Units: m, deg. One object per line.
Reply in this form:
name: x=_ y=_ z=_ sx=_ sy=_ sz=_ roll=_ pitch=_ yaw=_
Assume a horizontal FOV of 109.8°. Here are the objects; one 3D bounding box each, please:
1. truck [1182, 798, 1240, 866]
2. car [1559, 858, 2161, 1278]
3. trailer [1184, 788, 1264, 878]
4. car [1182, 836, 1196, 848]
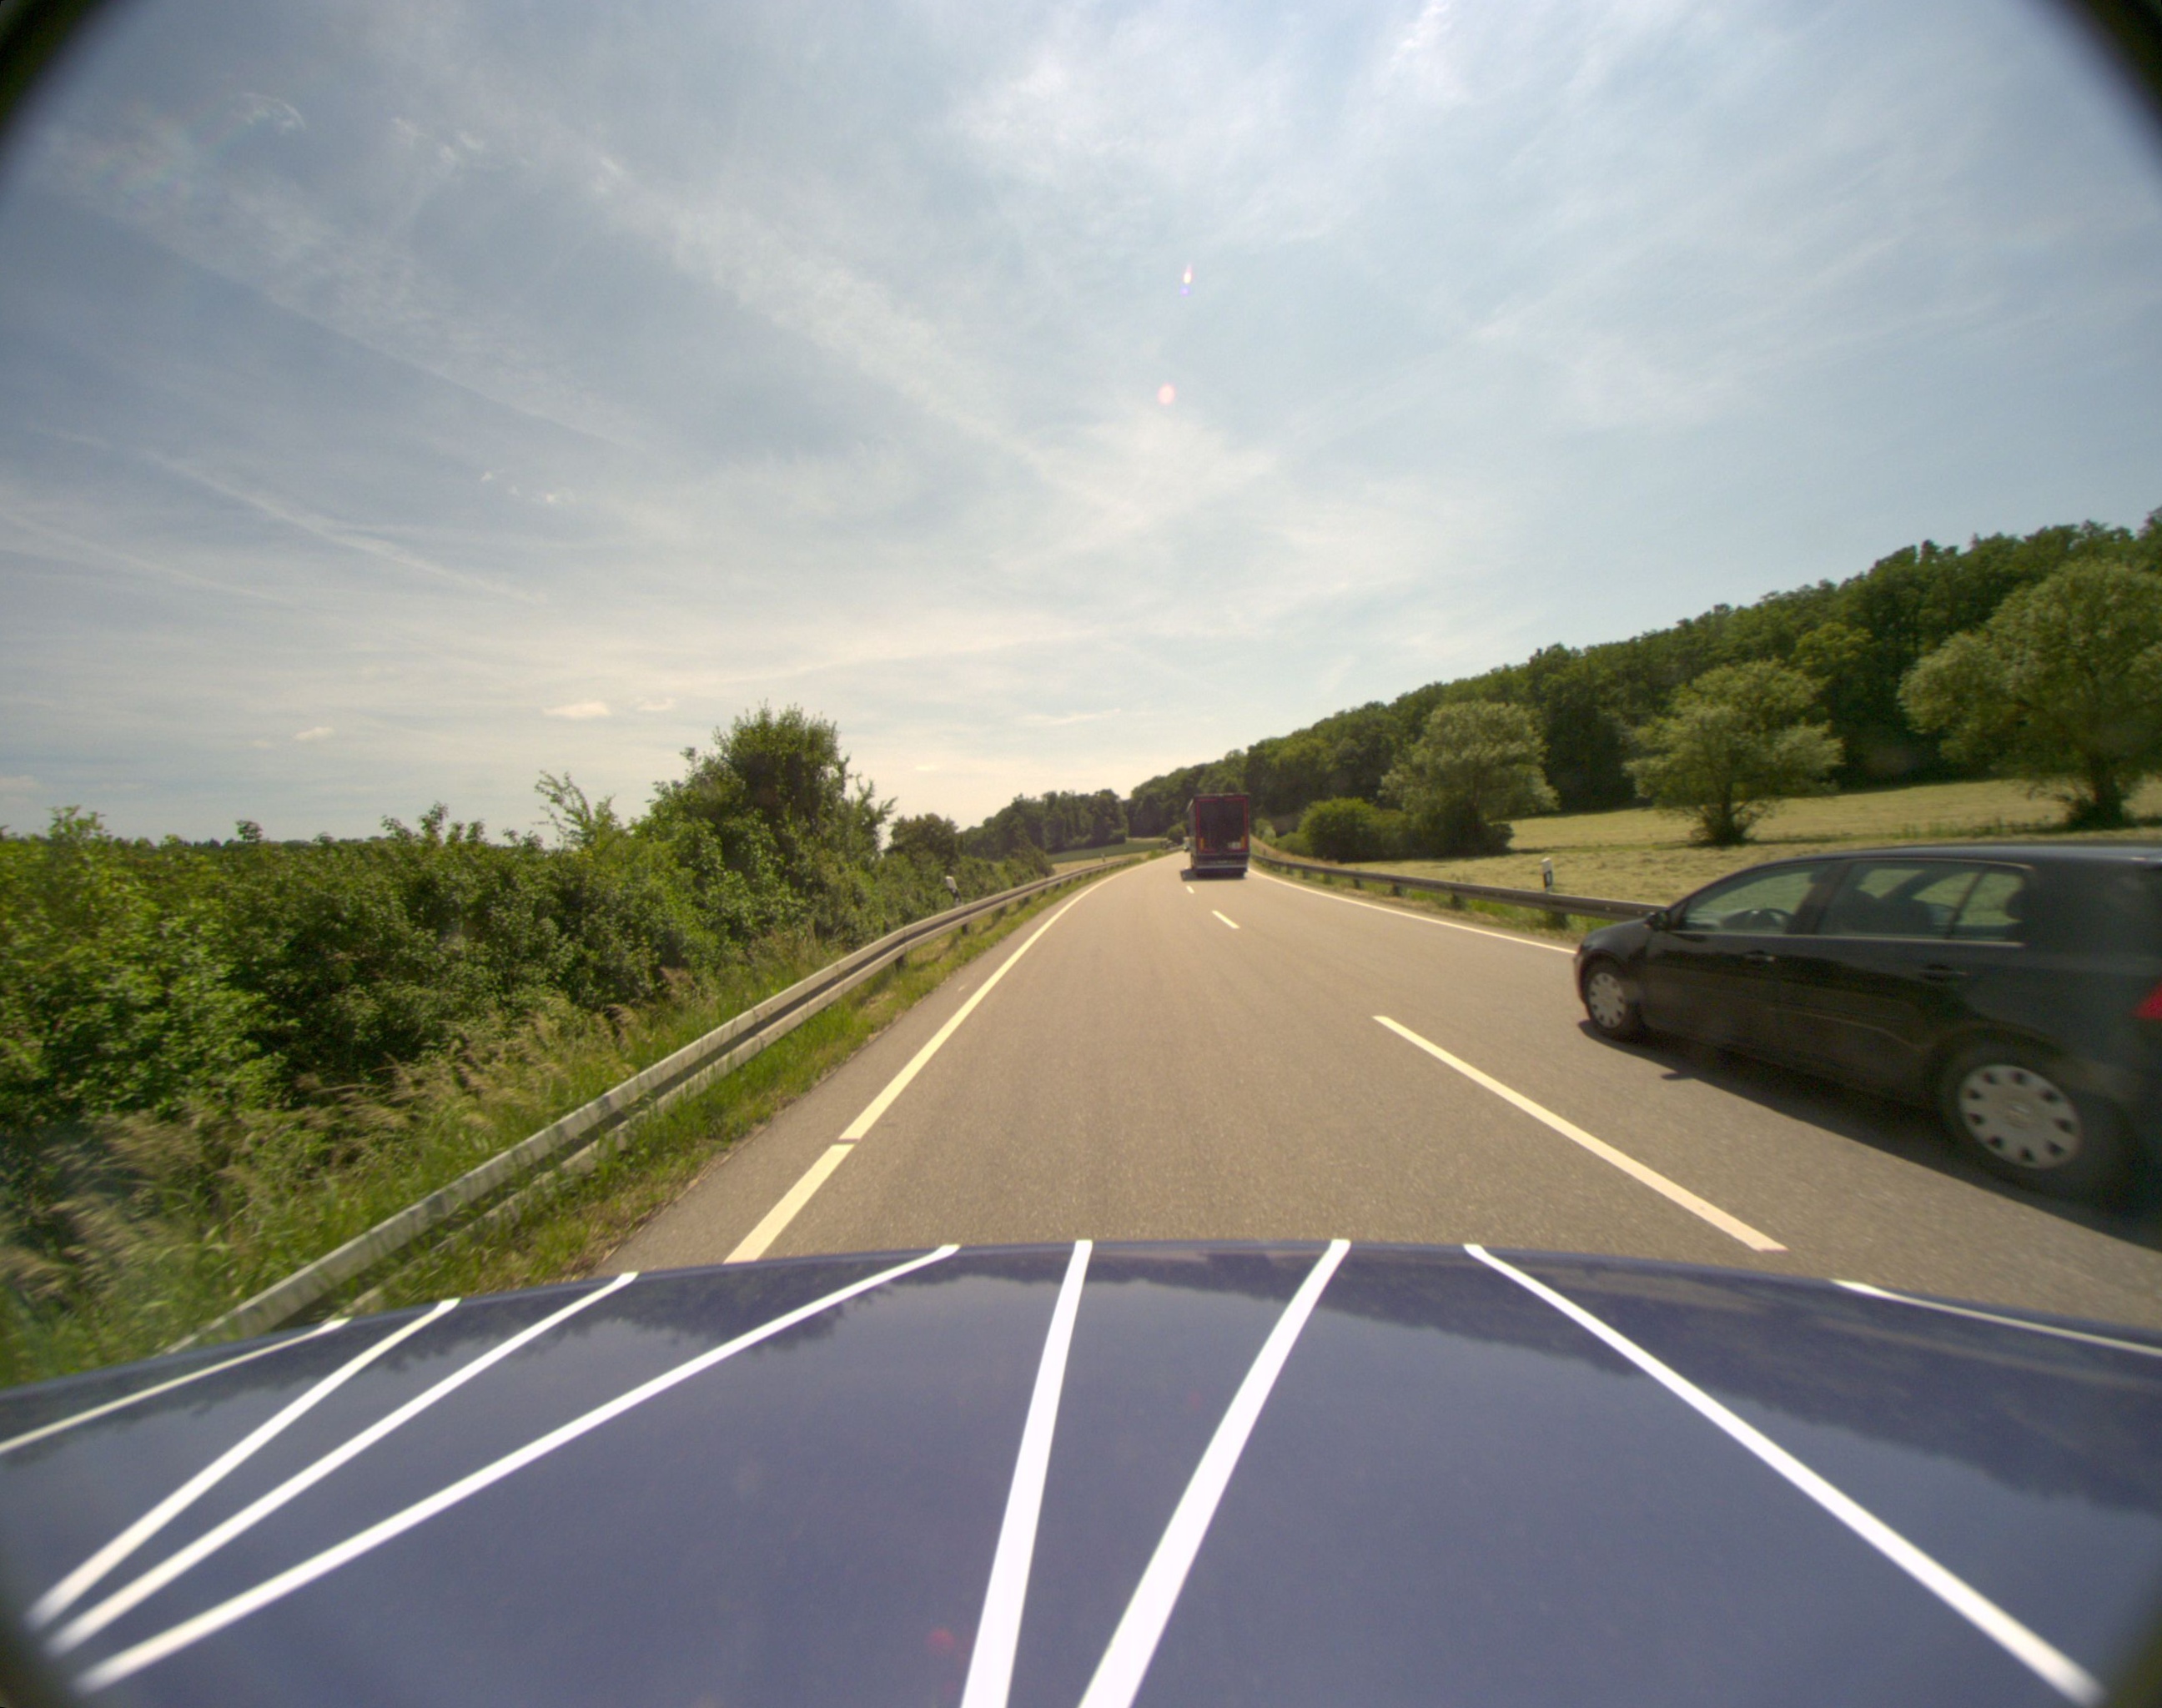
truck: x=8.469 y=-1.367 z=50.154 sx=3.248 sy=4.126 sz=6.654 roll=-2 pitch=0 yaw=6
car: x=4.762 y=0.774 z=4.206 sx=1.704 sy=1.461 sz=4.201 roll=-1 pitch=0 yaw=2
trailer: x=7.647 y=-1.106 z=42.743 sx=3.248 sy=4.126 sz=14.448 roll=-2 pitch=1 yaw=6
car: x=15.084 y=-1.653 z=105.547 sx=1.620 sy=1.428 sz=3.445 roll=-4 pitch=1 yaw=12
